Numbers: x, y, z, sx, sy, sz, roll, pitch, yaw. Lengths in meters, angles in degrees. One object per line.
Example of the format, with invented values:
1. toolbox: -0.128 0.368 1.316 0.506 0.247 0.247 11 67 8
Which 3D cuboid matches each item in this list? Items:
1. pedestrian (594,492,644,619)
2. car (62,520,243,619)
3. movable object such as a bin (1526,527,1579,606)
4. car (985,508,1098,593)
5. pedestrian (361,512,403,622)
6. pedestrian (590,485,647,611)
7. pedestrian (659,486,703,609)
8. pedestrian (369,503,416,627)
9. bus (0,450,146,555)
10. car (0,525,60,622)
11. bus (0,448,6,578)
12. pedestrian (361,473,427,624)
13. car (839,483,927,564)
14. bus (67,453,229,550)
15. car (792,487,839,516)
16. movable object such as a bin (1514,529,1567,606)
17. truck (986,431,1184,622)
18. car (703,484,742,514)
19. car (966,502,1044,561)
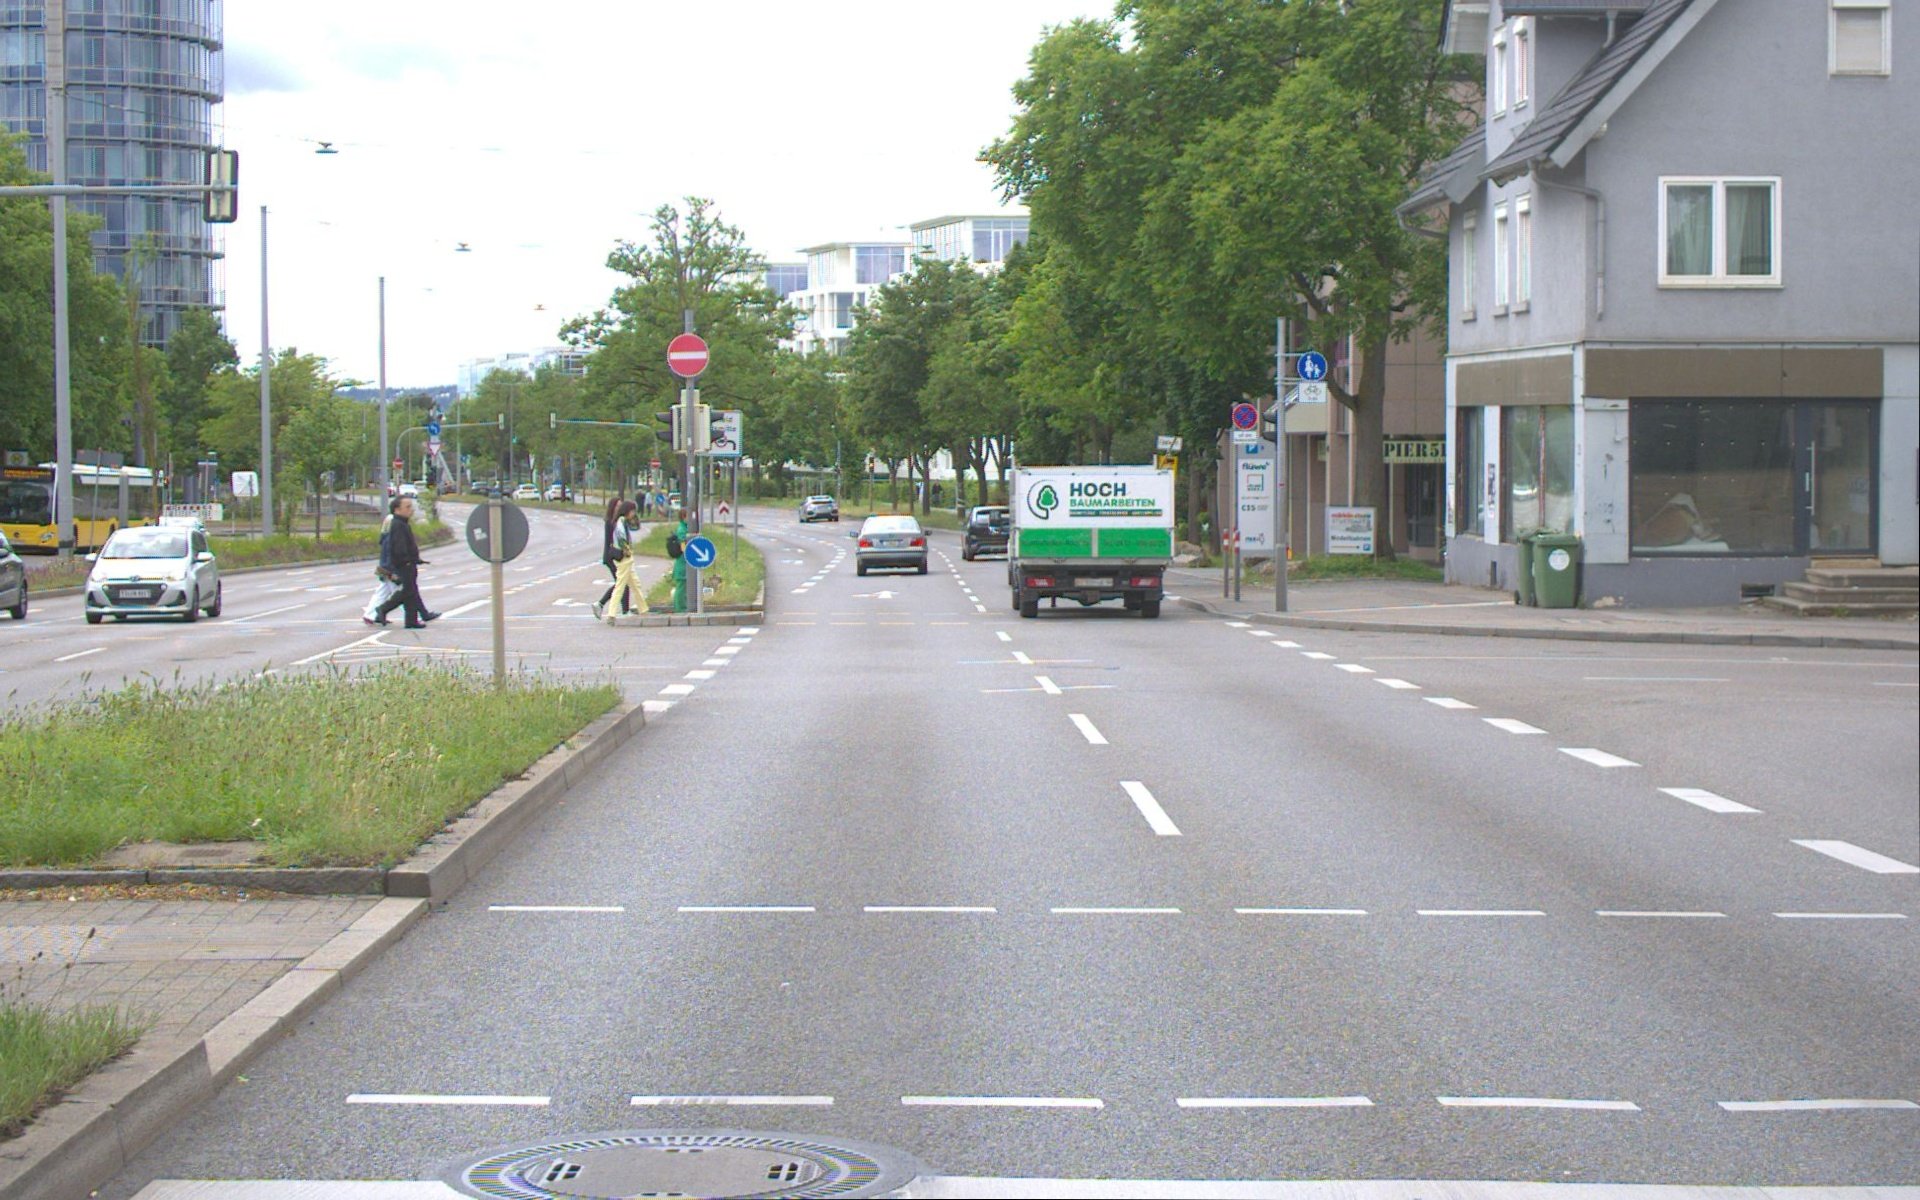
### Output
1. pedestrian: -4.610 -0.606 46.461 0.653 1.710 0.452 -1 1 -7
2. car: -12.616 -0.509 53.942 1.993 1.481 4.001 -1 1 -2
3. movable object such as a bin: 8.056 -0.463 46.779 0.604 1.056 0.589 1 1 1
4. car: 1.529 -0.965 65.938 1.993 1.546 4.000 1 1 -1
5. pedestrian: -7.900 -0.459 47.013 0.543 1.491 0.487 -1 1 -9
6. pedestrian: -4.674 -0.714 47.013 0.745 1.710 0.583 -1 1 -7
7. pedestrian: -3.923 -0.740 48.286 0.583 1.710 0.546 -1 1 -7
8. pedestrian: -7.889 -0.495 47.781 0.612 1.710 0.546 -1 1 -7
9. bus: -30.721 -3.283 117.114 2.832 3.419 10.732 0 1 4
10. car: -15.683 -0.439 54.251 1.993 1.481 4.001 -1 1 -2
11. bus: -26.953 -2.155 85.544 2.832 3.419 10.732 0 1 4
12. pedestrian: -7.579 -0.689 46.035 0.829 2.007 0.546 -1 1 -7
13. car: -1.776 -1.801 80.186 1.993 1.824 4.000 -1 1 -1
14. bus: -30.082 -3.620 127.849 2.832 3.419 10.732 0 1 4
15. car: -7.775 -5.271 184.787 1.993 1.546 4.001 -1 1 -9
16. movable object such as a bin: 8.013 -0.452 47.462 0.616 1.039 0.589 1 1 1
17. truck: 1.753 -1.156 50.791 2.470 2.602 6.549 1 2 -1
18. car: -12.380 -5.256 179.215 1.993 1.514 4.001 -1 2 -4
19. car: 1.213 -1.875 93.867 1.993 1.546 4.000 1 1 -1
